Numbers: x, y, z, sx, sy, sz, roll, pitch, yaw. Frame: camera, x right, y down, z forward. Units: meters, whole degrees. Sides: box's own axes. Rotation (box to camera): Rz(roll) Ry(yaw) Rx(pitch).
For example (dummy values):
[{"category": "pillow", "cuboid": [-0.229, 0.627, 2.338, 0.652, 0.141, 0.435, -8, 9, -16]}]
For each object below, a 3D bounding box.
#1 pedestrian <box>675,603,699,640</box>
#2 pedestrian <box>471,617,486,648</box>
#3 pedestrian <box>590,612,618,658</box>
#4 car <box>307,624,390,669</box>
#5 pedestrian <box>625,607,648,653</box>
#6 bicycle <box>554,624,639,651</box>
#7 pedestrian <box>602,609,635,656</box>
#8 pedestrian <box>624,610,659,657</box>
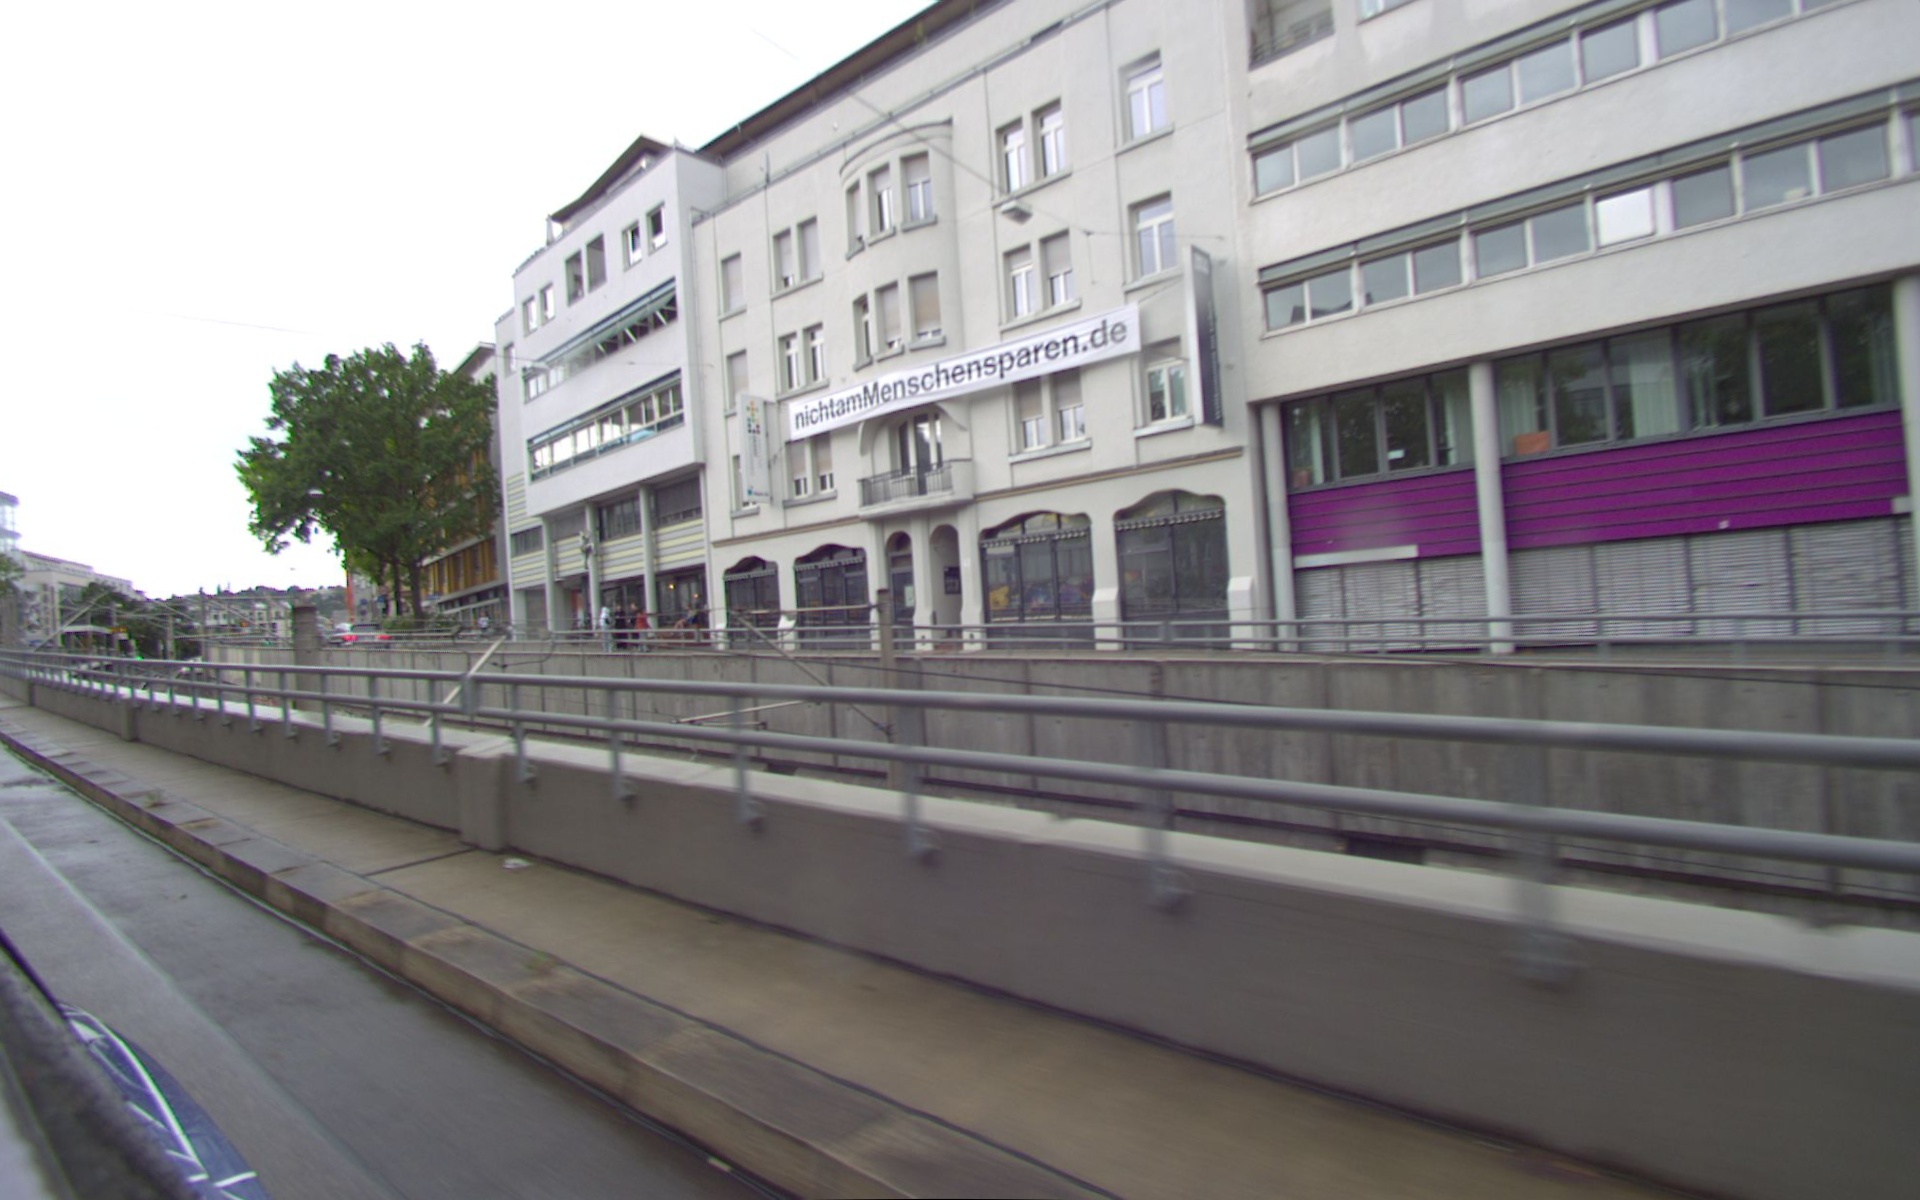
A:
[{"category": "pedestrian", "cuboid": [-10.784, 0.861, 40.020, 0.600, 1.430, 0.674, -2, -1, -44]}, {"category": "pedestrian", "cuboid": [-29.391, 1.985, 61.795, 0.657, 1.863, 0.831, 0, -3, -40]}, {"category": "pedestrian", "cuboid": [-13.430, 1.317, 38.166, 0.784, 1.655, 0.674, -3, -1, -2]}, {"category": "car", "cuboid": [-26.017, 1.989, 42.995, 4.577, 1.726, 1.817, -3, -1, 43]}, {"category": "pedestrian", "cuboid": [-12.390, 1.149, 38.741, 0.601, 1.735, 0.673, -3, -1, 1]}, {"category": "bicycle", "cuboid": [-15.706, 1.623, 43.592, 1.673, 1.051, 4.524, -1, -1, -45]}, {"category": "pedestrian", "cuboid": [-13.307, 1.270, 39.455, 0.937, 1.798, 0.668, -3, -1, 26]}, {"category": "pedestrian", "cuboid": [-11.610, 1.225, 36.872, 0.937, 1.628, 0.668, -3, -1, 26]}]
